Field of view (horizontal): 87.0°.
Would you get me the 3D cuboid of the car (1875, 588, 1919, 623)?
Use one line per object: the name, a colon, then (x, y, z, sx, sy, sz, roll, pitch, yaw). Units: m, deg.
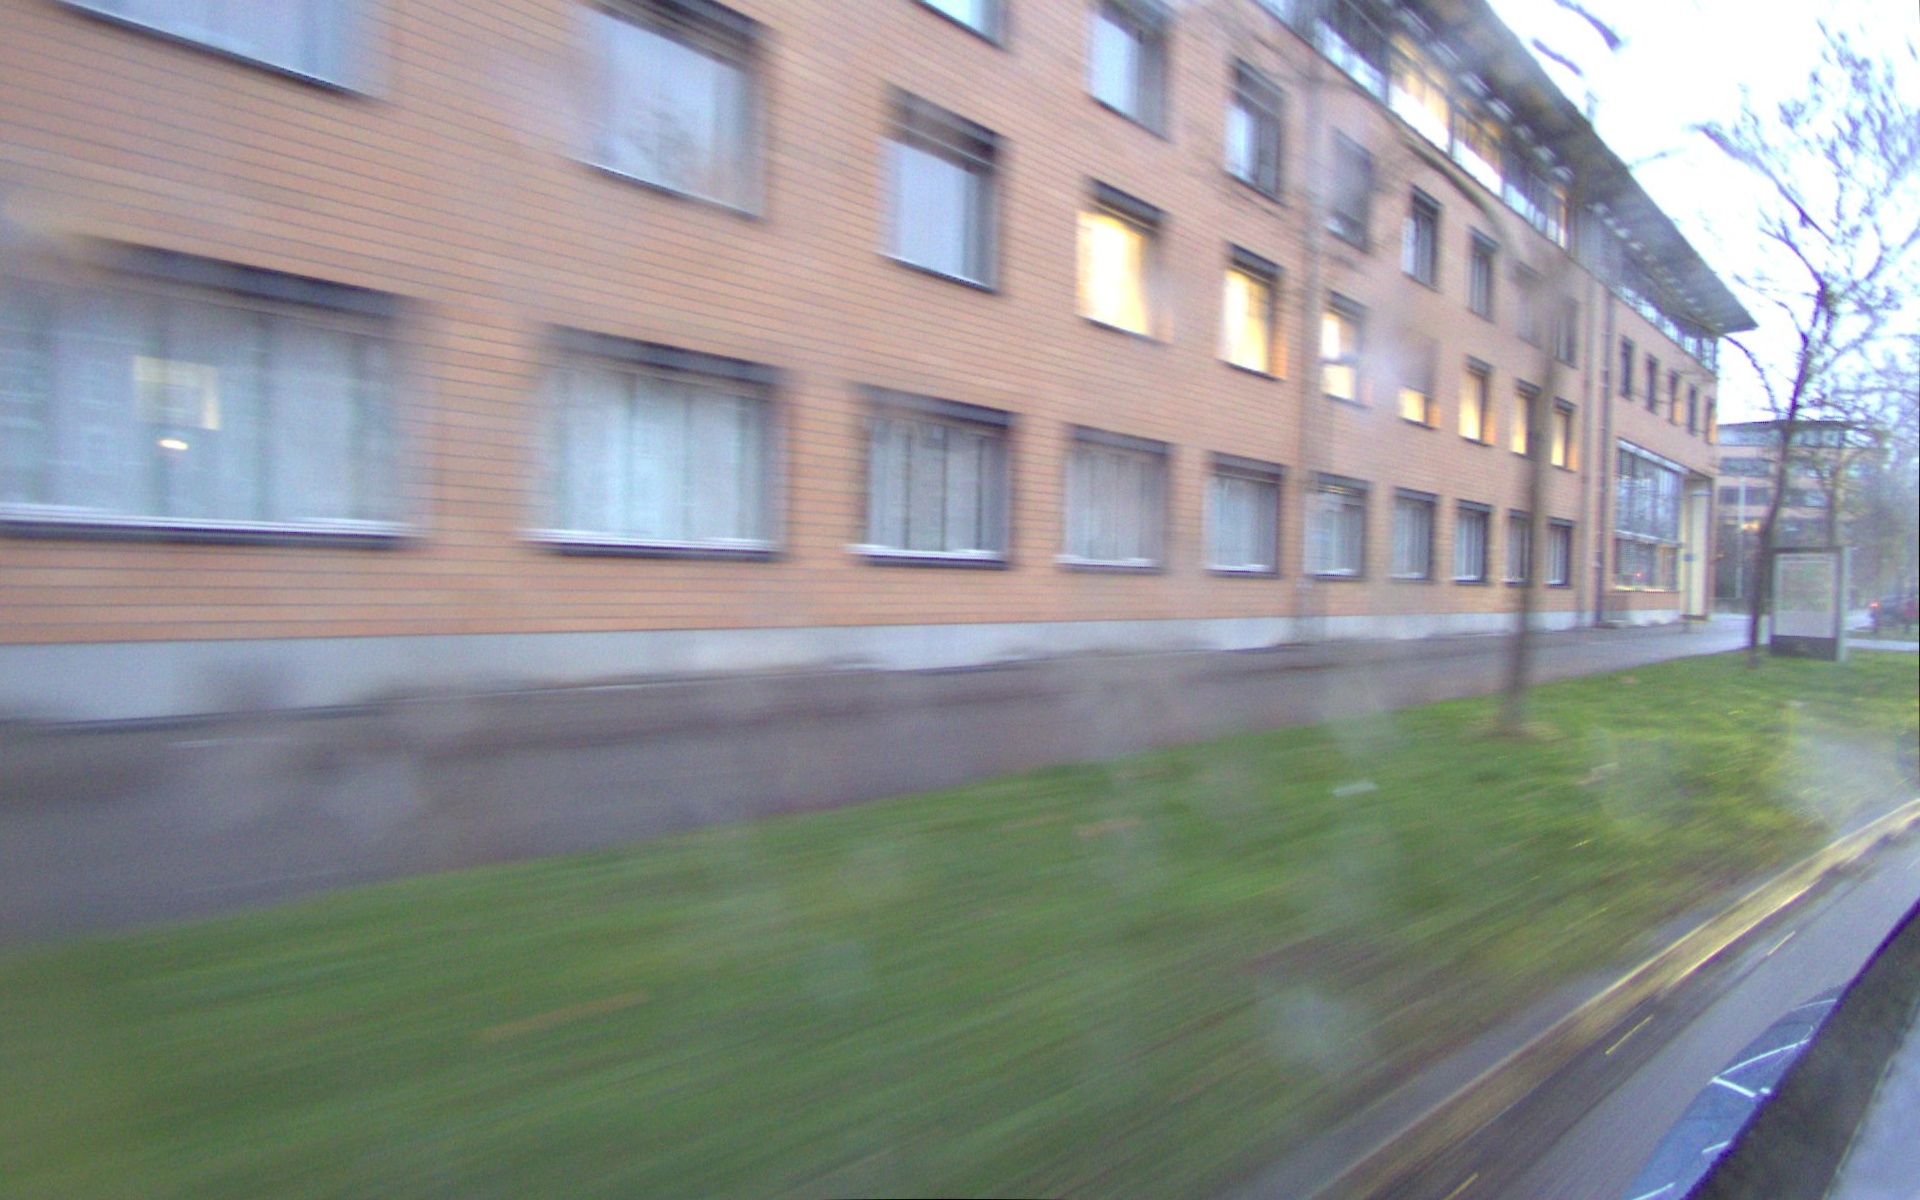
car: (45.637, 0.331, 47.338, 1.712, 1.574, 3.995, 0, 4, -42)

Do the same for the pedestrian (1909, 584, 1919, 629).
pedestrian: (37.668, 0.263, 39.530, 0.498, 1.763, 0.655, 3, 2, 14)
